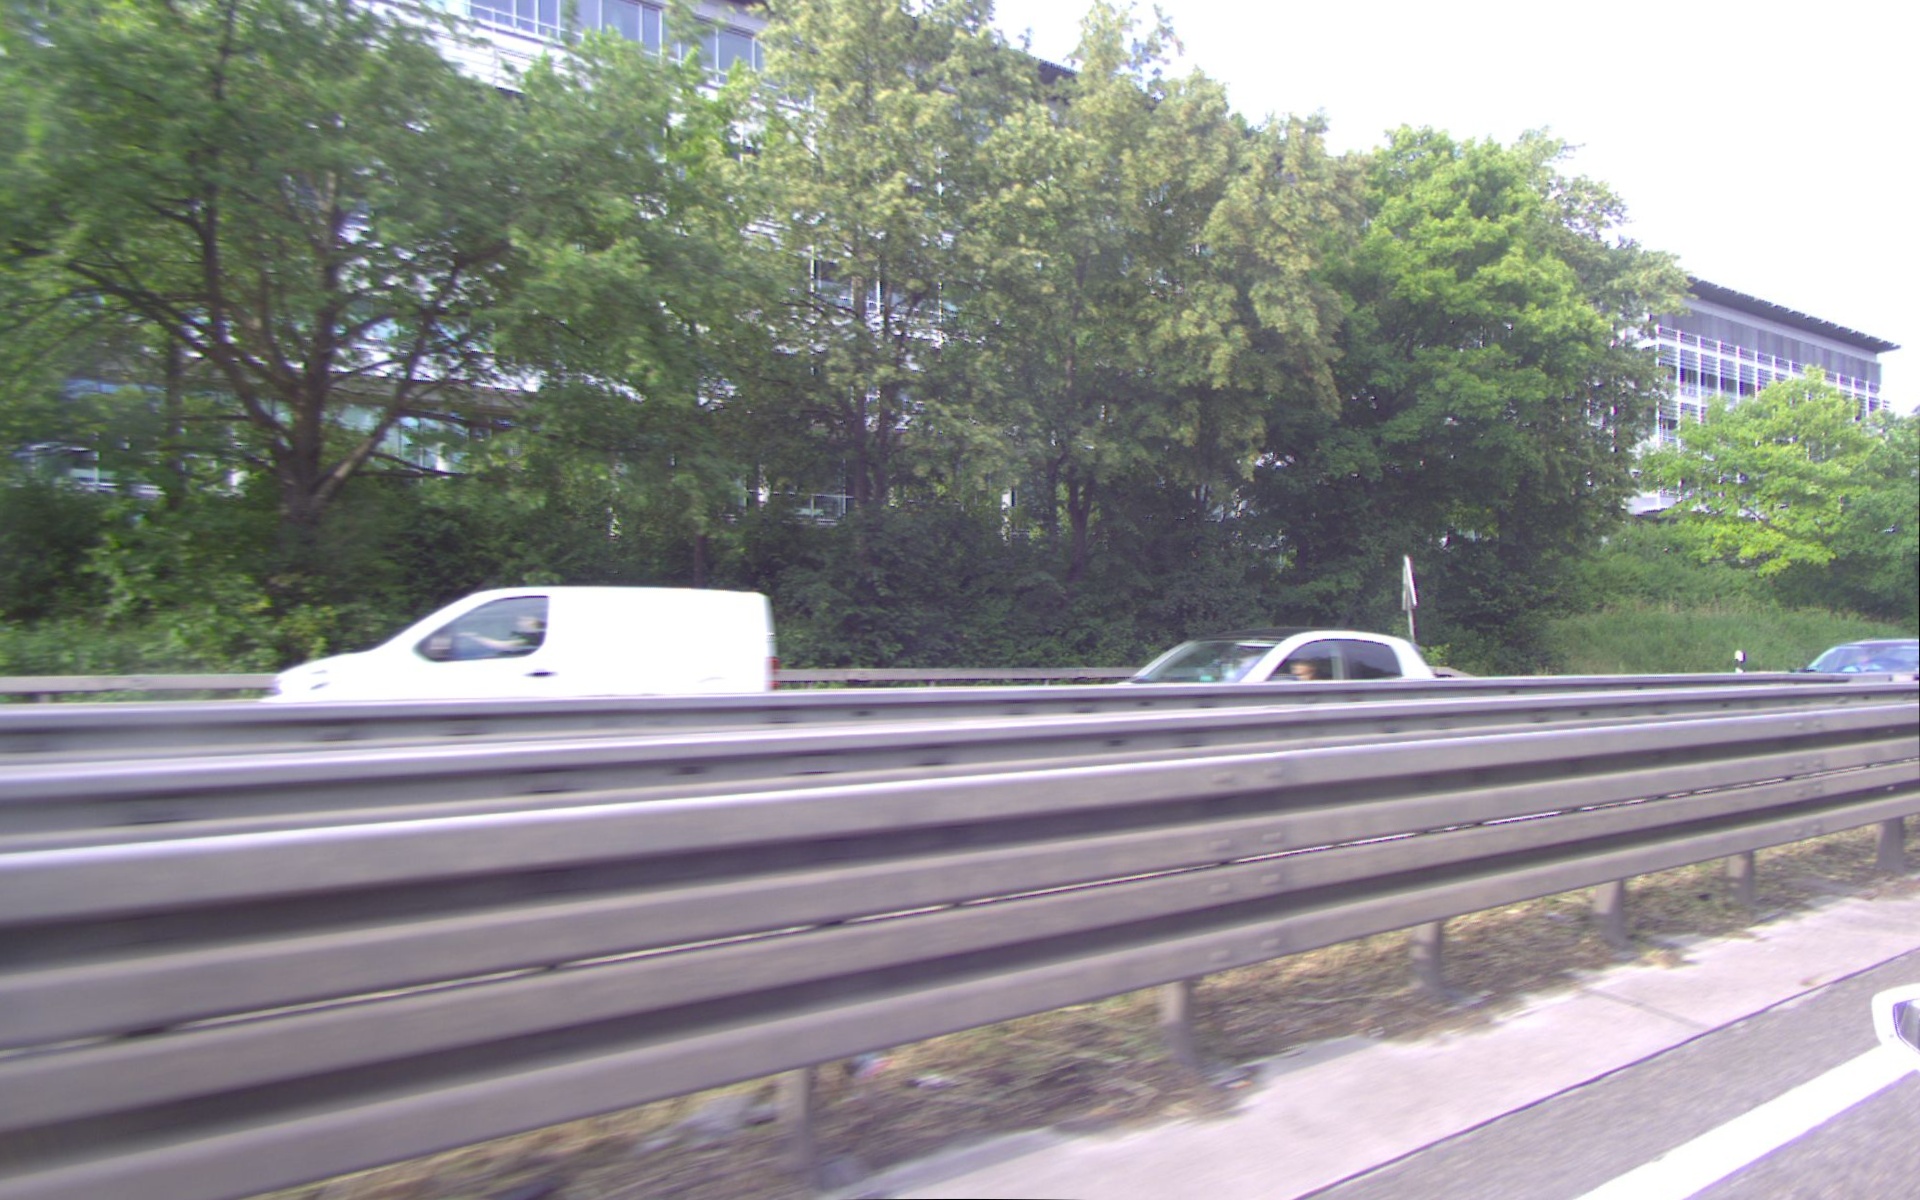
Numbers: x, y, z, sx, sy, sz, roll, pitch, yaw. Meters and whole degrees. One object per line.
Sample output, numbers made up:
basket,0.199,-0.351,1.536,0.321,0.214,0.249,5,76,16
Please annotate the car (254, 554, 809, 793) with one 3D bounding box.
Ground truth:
car,-3.965,0.634,9.821,4.566,1.880,1.860,1,-1,-29

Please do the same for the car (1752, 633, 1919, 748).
car,12.795,1.161,13.865,3.787,1.370,1.668,1,-1,-30

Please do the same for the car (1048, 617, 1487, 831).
car,2.722,0.932,8.774,3.603,1.506,1.674,1,-1,-30
